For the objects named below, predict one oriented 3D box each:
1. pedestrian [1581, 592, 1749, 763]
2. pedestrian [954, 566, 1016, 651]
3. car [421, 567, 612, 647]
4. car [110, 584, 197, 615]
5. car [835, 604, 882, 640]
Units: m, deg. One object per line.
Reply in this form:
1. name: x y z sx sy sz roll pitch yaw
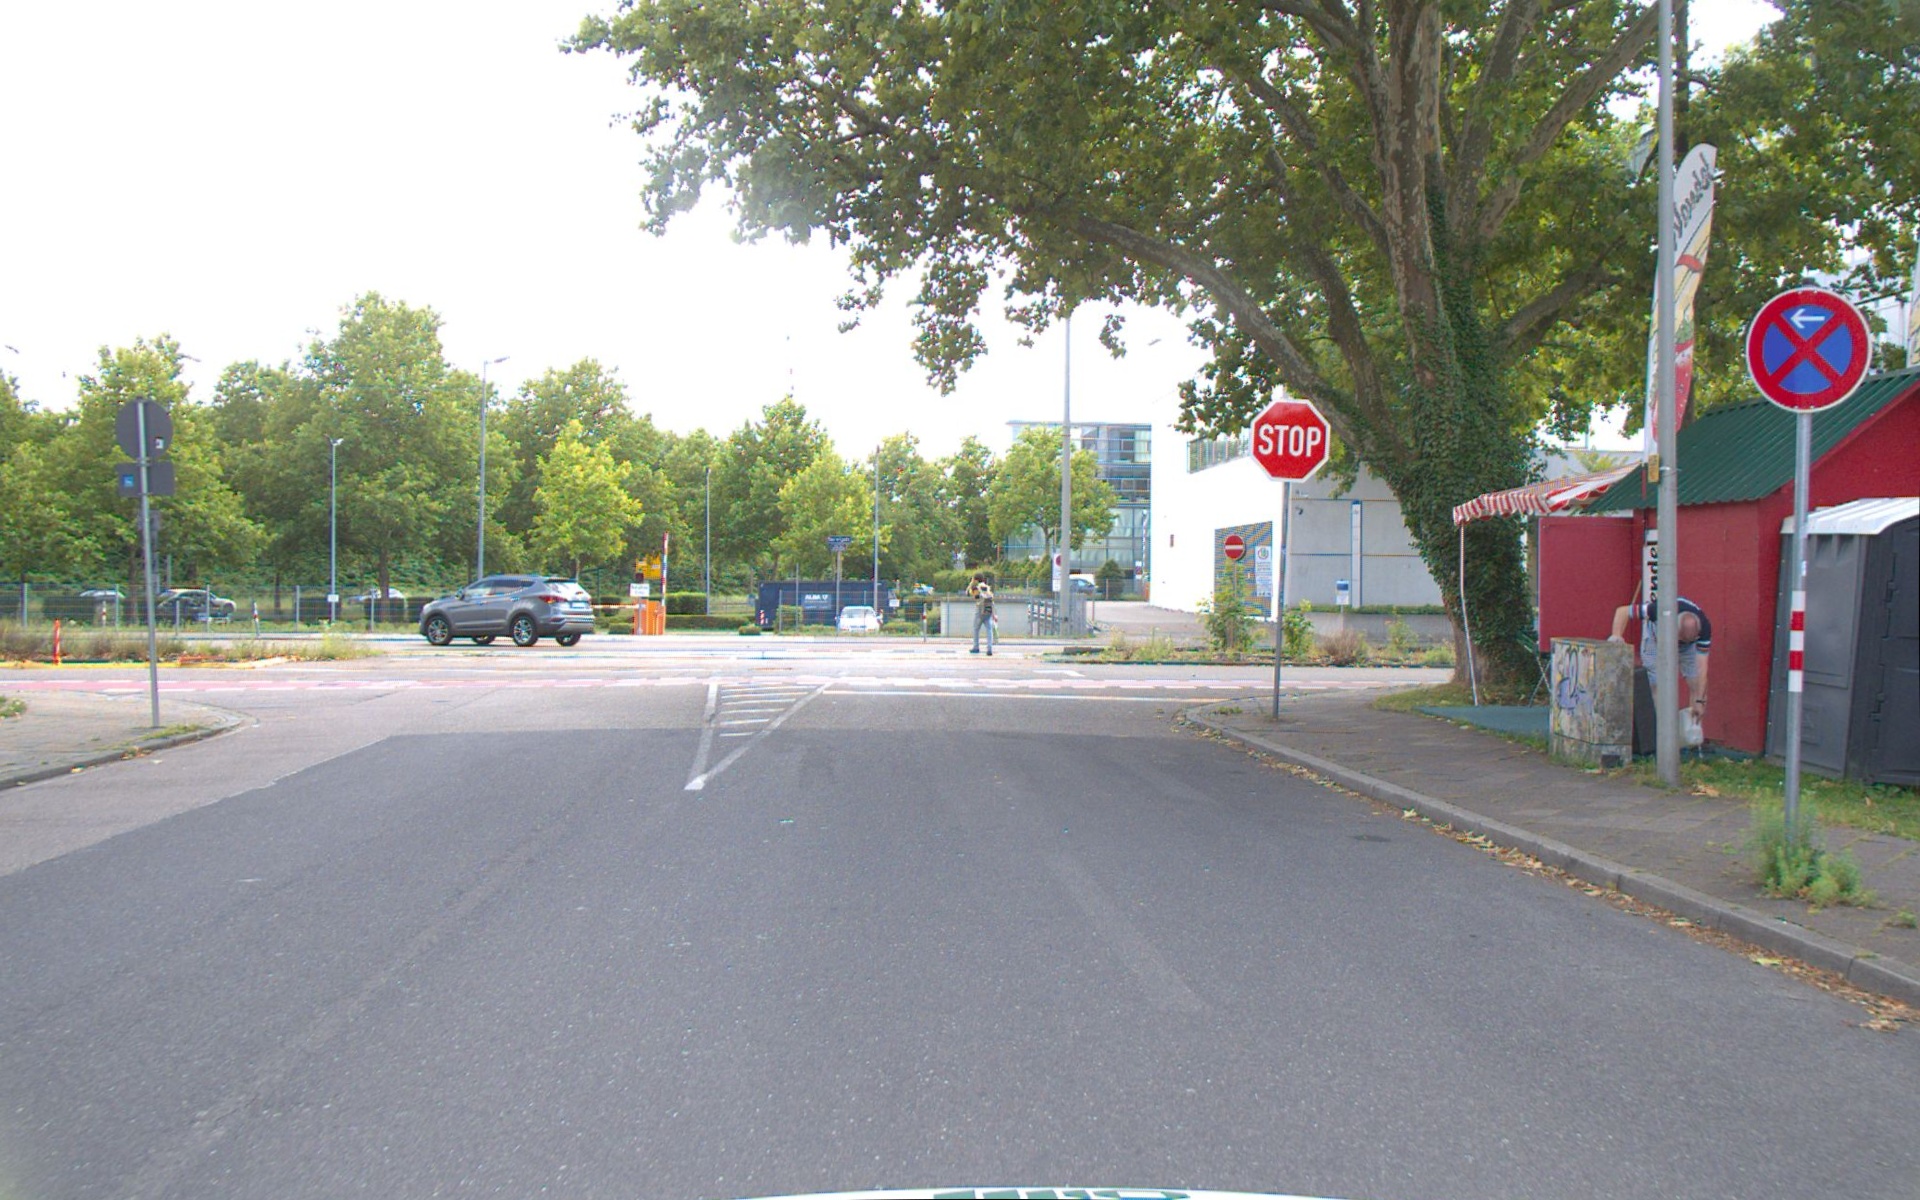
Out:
1. pedestrian: 5.766 0.610 13.581 0.992 1.337 0.965 1 0 3
2. pedestrian: 0.556 0.188 37.444 0.987 1.881 1.221 1 0 -22
3. car: -10.899 0.137 40.669 4.173 1.847 1.969 1 1 20
4. car: -47.512 -0.025 97.508 1.877 1.751 4.294 1 0 28
5. car: -4.239 0.911 69.440 1.893 1.427 4.078 0 0 -3
